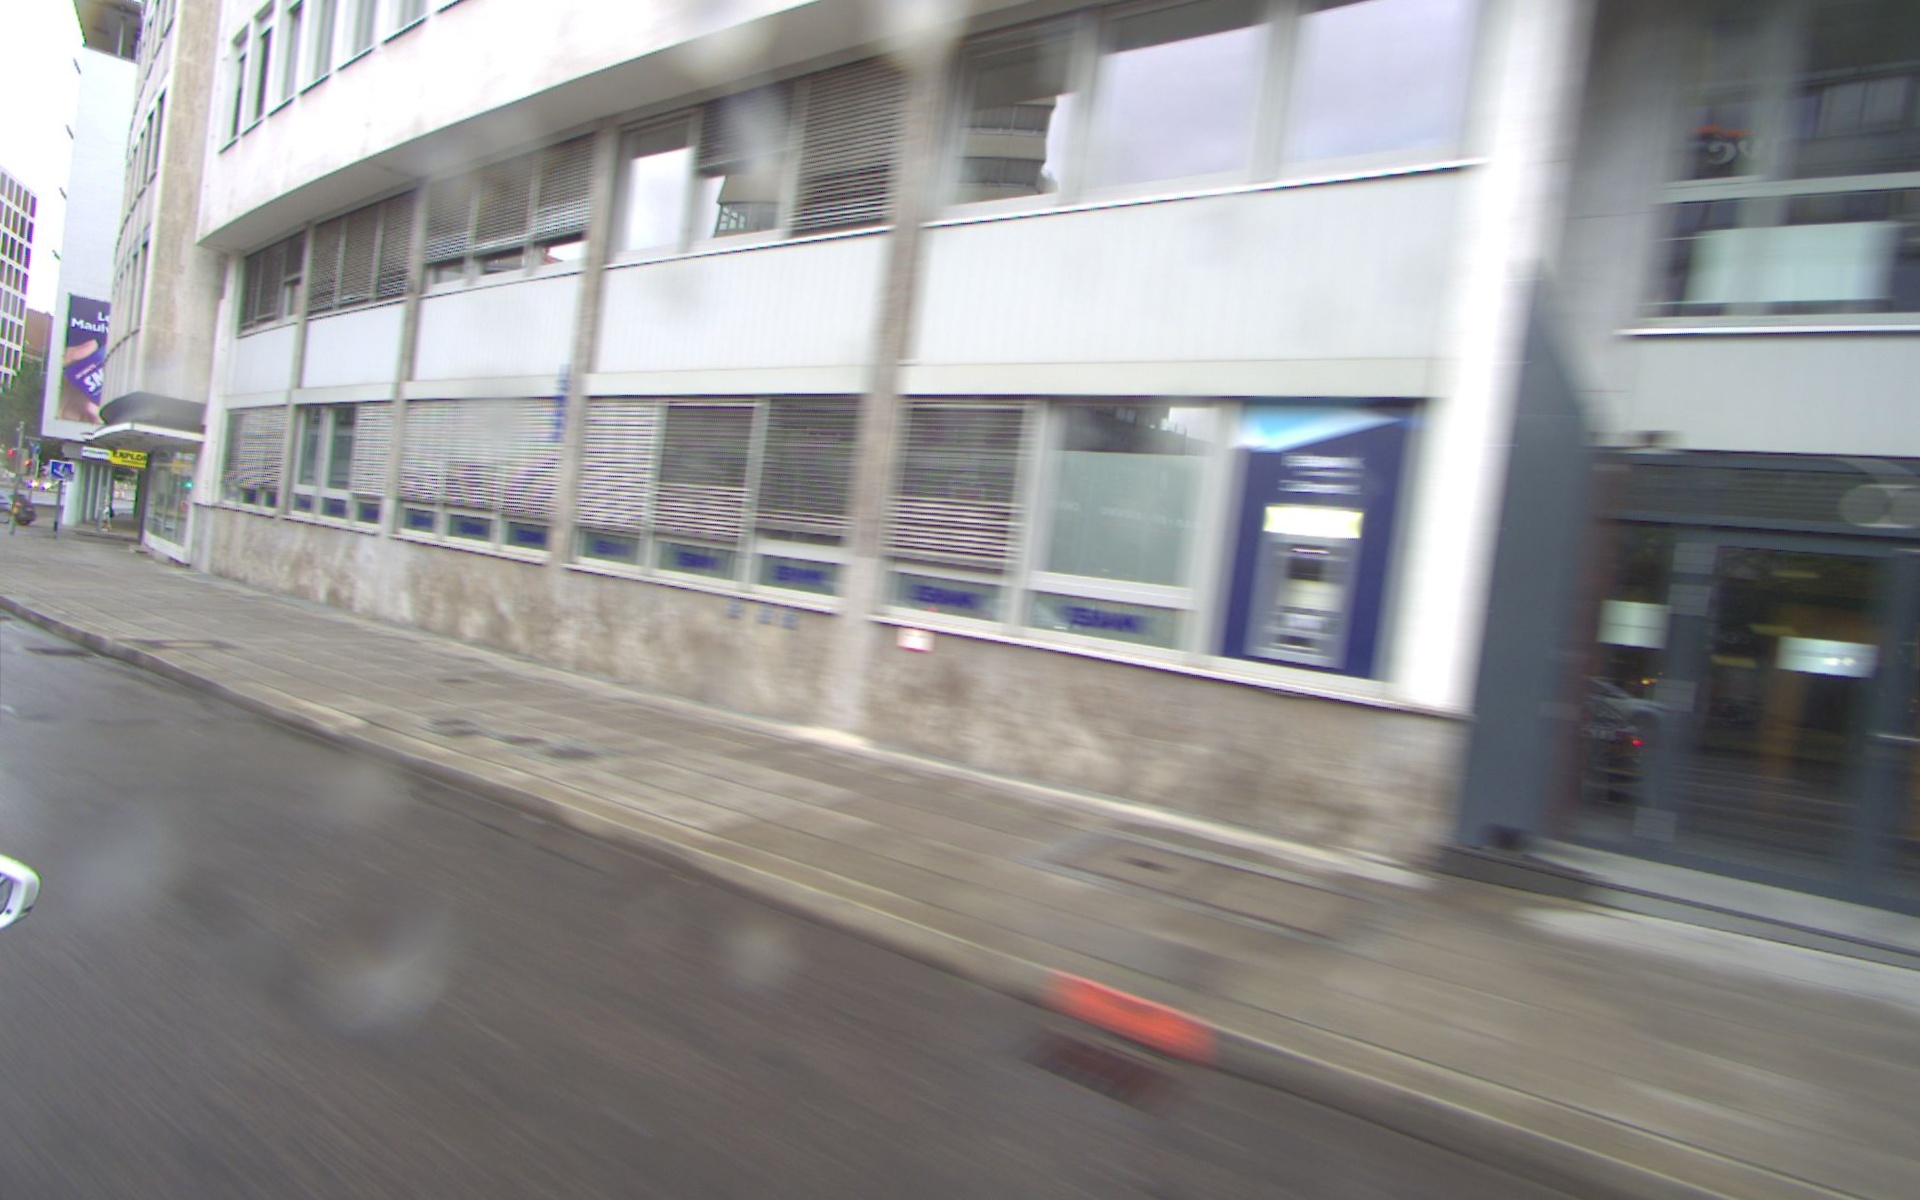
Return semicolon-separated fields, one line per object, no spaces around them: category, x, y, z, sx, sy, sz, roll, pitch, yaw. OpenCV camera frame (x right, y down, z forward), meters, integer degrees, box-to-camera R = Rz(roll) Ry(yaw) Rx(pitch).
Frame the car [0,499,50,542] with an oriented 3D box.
car;-47.090;-4.101;48.408;4.302;1.786;2.042;9;-1;-24

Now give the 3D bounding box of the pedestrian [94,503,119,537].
pedestrian;-45.025;-4.204;53.072;0.761;1.698;0.723;8;0;-34

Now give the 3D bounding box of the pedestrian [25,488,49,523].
pedestrian;-47.312;-4.829;51.558;0.724;1.688;0.683;7;-1;-41
